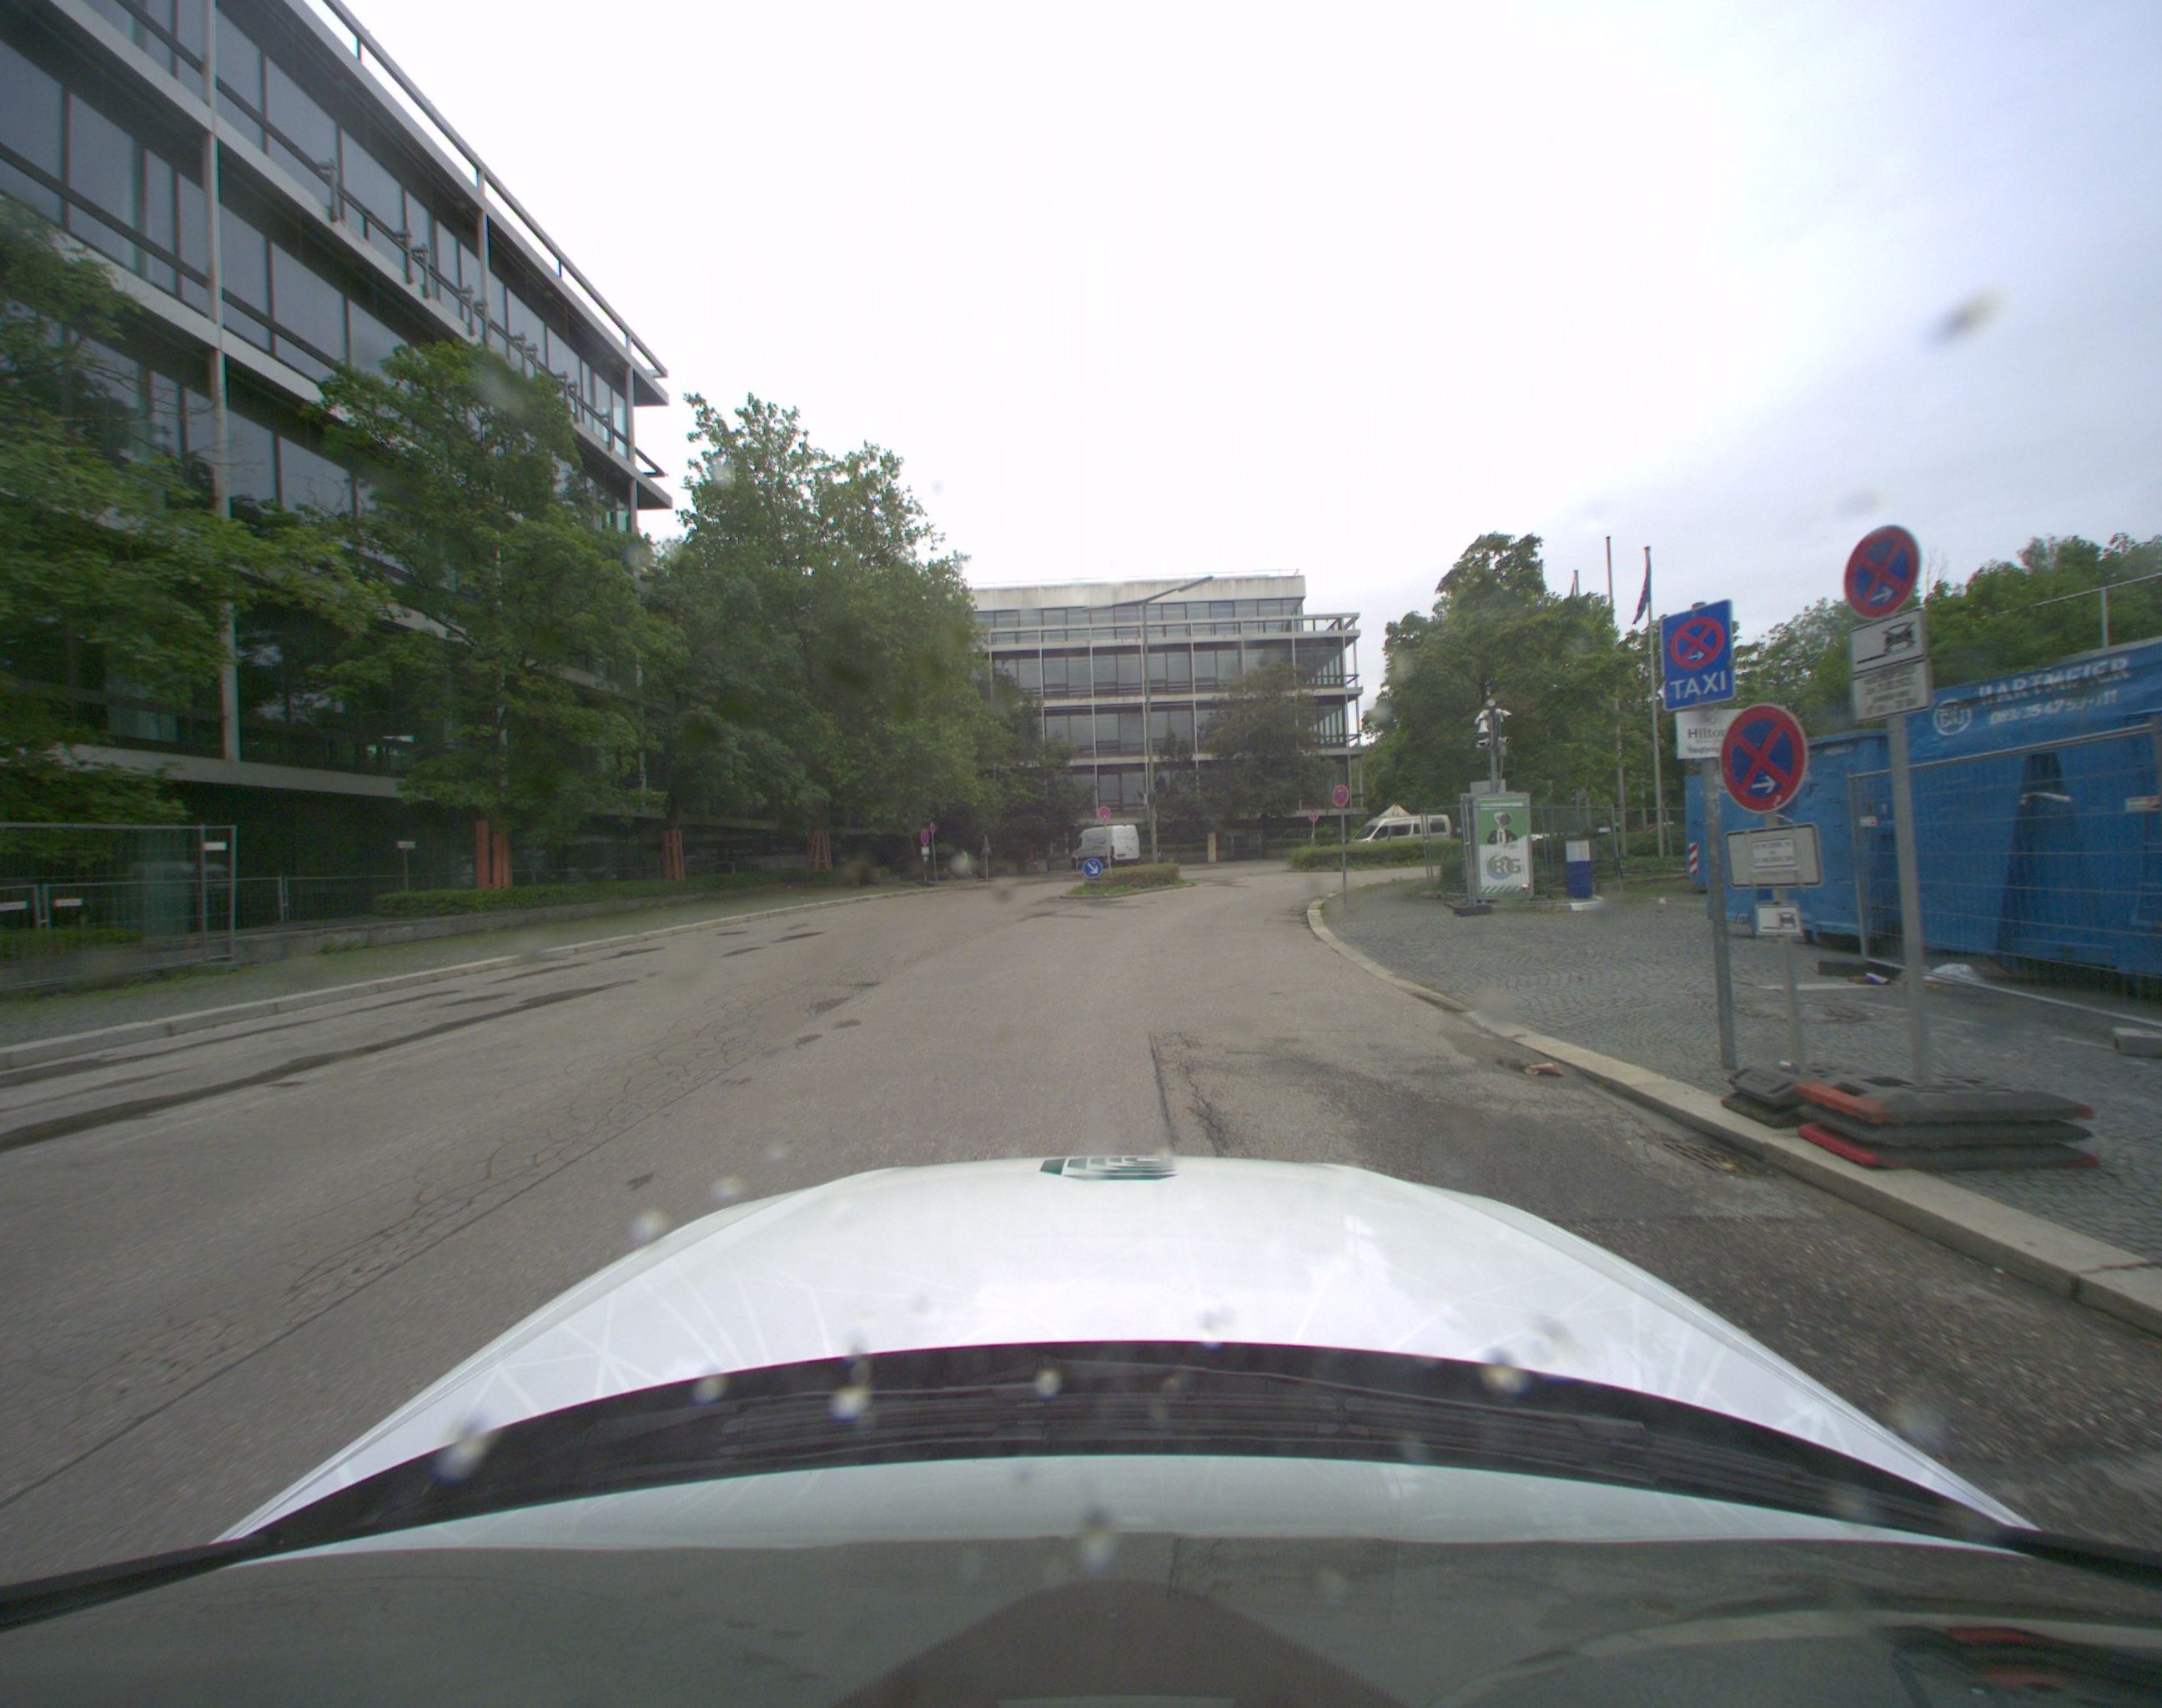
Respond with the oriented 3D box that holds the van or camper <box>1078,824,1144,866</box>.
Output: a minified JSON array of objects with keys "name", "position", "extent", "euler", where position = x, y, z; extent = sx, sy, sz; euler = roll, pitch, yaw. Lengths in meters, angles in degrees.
[{"name":"van or camper","position":[1.803,-0.530,51.490],"extent":[2.095,2.492,5.026],"euler":[-2,0,-24]}]

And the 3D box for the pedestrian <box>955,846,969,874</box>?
[{"name":"pedestrian","position":[-7.350,0.380,50.325],"extent":[0.743,1.677,0.678],"euler":[-2,0,-18]}]

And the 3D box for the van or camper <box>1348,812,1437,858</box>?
[{"name":"van or camper","position":[18.568,-1.117,48.590],"extent":[4.450,2.585,2.101],"euler":[-2,0,-10]}]
